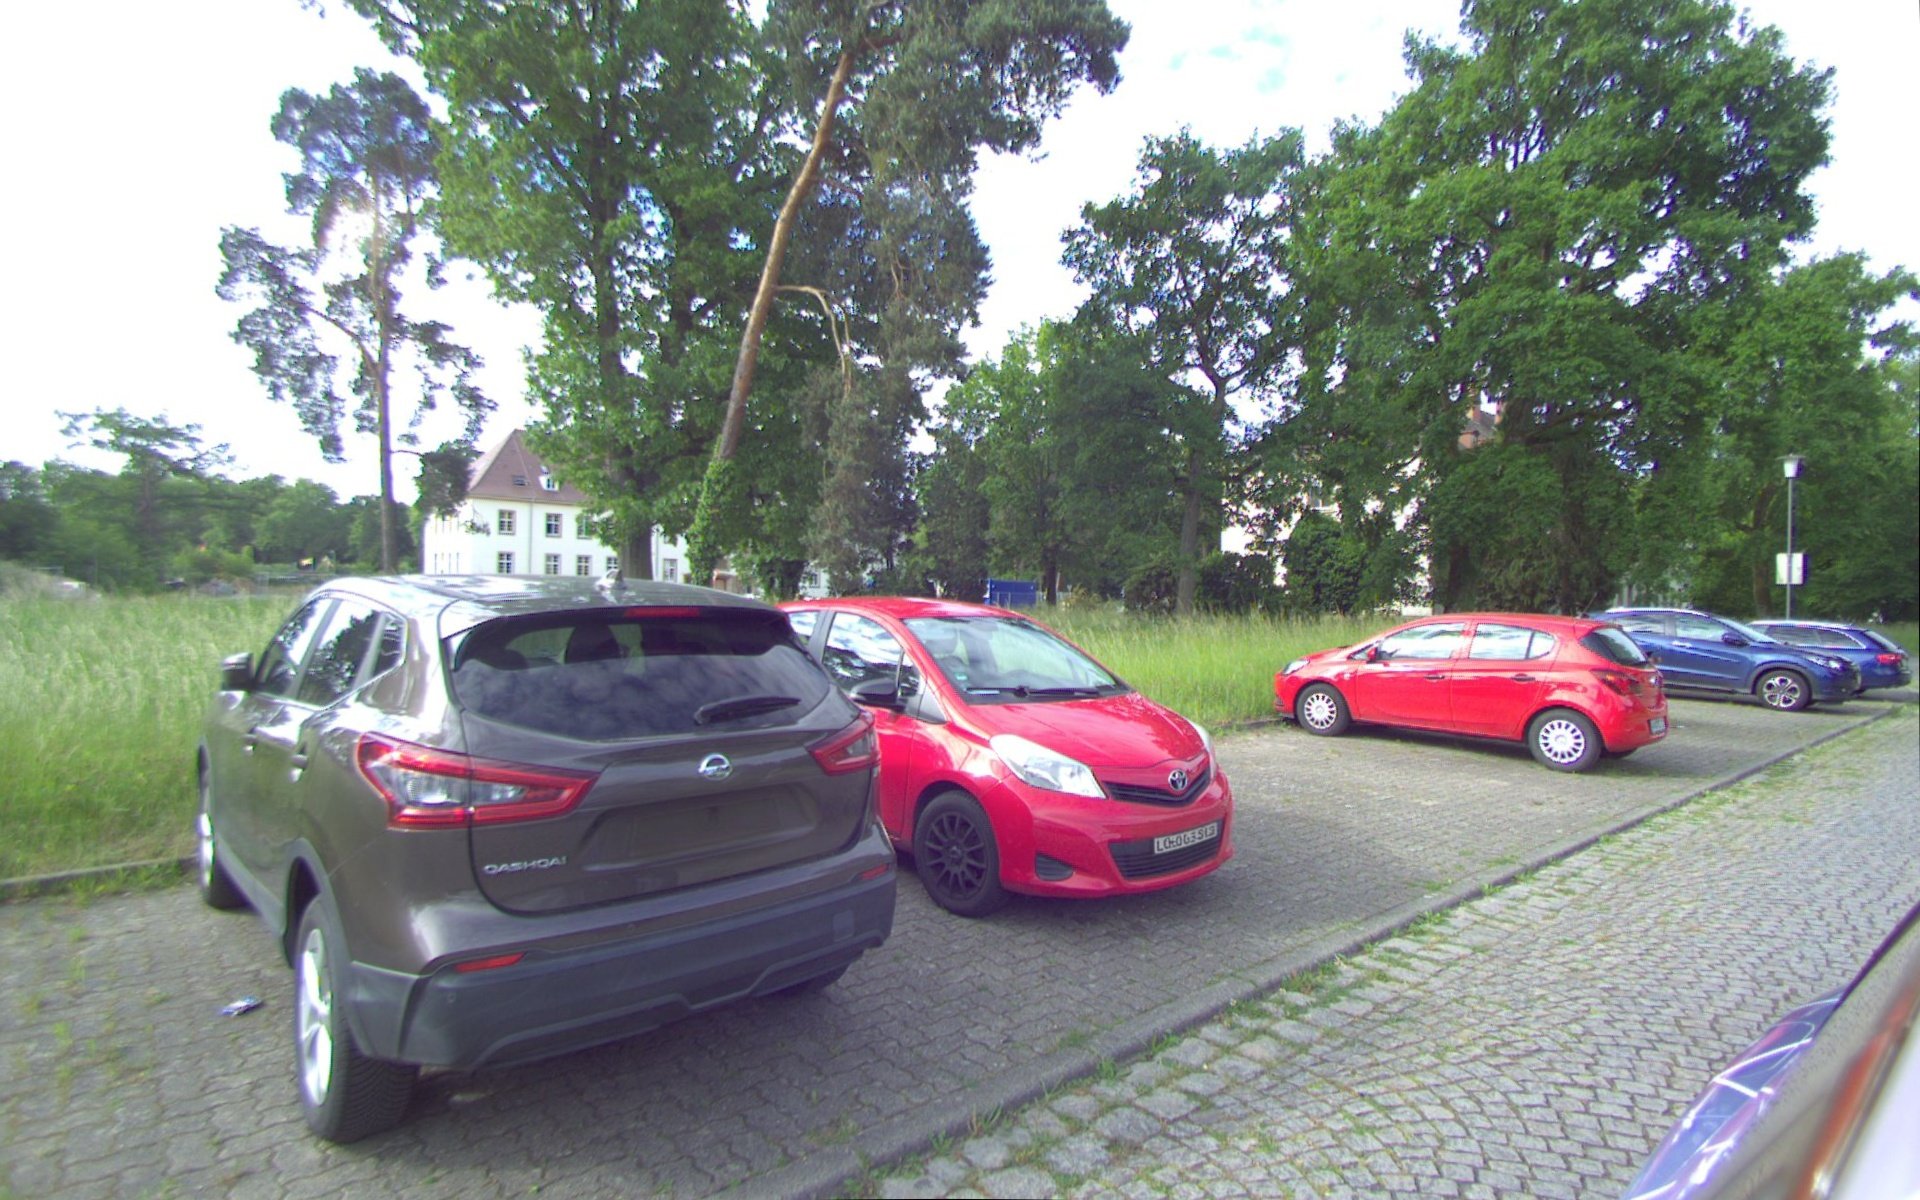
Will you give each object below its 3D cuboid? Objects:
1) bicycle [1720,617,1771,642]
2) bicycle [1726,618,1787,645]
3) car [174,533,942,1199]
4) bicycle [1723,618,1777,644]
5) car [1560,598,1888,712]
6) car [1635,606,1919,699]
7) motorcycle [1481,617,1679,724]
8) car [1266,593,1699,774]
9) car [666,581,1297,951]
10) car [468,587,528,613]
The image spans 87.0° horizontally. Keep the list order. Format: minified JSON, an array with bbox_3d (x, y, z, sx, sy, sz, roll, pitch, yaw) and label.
[{"bbox_3d":[37.332,1.406,48.111,1.791,1.101,0.548,2,2,28],"label":"bicycle"},{"bbox_3d":[35.127,1.377,44.658,1.999,1.101,0.474,2,2,28],"label":"bicycle"},{"bbox_3d":[-2.028,0.640,4.270,1.732,1.600,3.955,1,0,-42],"label":"car"},{"bbox_3d":[36.296,1.404,46.538,1.849,1.101,0.515,2,2,28],"label":"bicycle"},{"bbox_3d":[13.228,0.863,17.742,1.862,1.593,4.271,2,1,-41],"label":"car"},{"bbox_3d":[16.796,0.980,20.780,1.860,1.483,4.518,2,1,-37],"label":"car"},{"bbox_3d":[8.604,0.932,14.137,2.265,1.291,0.596,2,1,45],"label":"motorcycle"},{"bbox_3d":[5.552,0.753,11.111,1.708,1.524,3.846,1,1,-42],"label":"car"},{"bbox_3d":[-0.163,0.680,6.326,1.707,1.538,3.994,1,0,-41],"label":"car"},{"bbox_3d":[-38.012,0.014,83.206,5.811,2.039,2.450,0,0,42],"label":"car"}]
